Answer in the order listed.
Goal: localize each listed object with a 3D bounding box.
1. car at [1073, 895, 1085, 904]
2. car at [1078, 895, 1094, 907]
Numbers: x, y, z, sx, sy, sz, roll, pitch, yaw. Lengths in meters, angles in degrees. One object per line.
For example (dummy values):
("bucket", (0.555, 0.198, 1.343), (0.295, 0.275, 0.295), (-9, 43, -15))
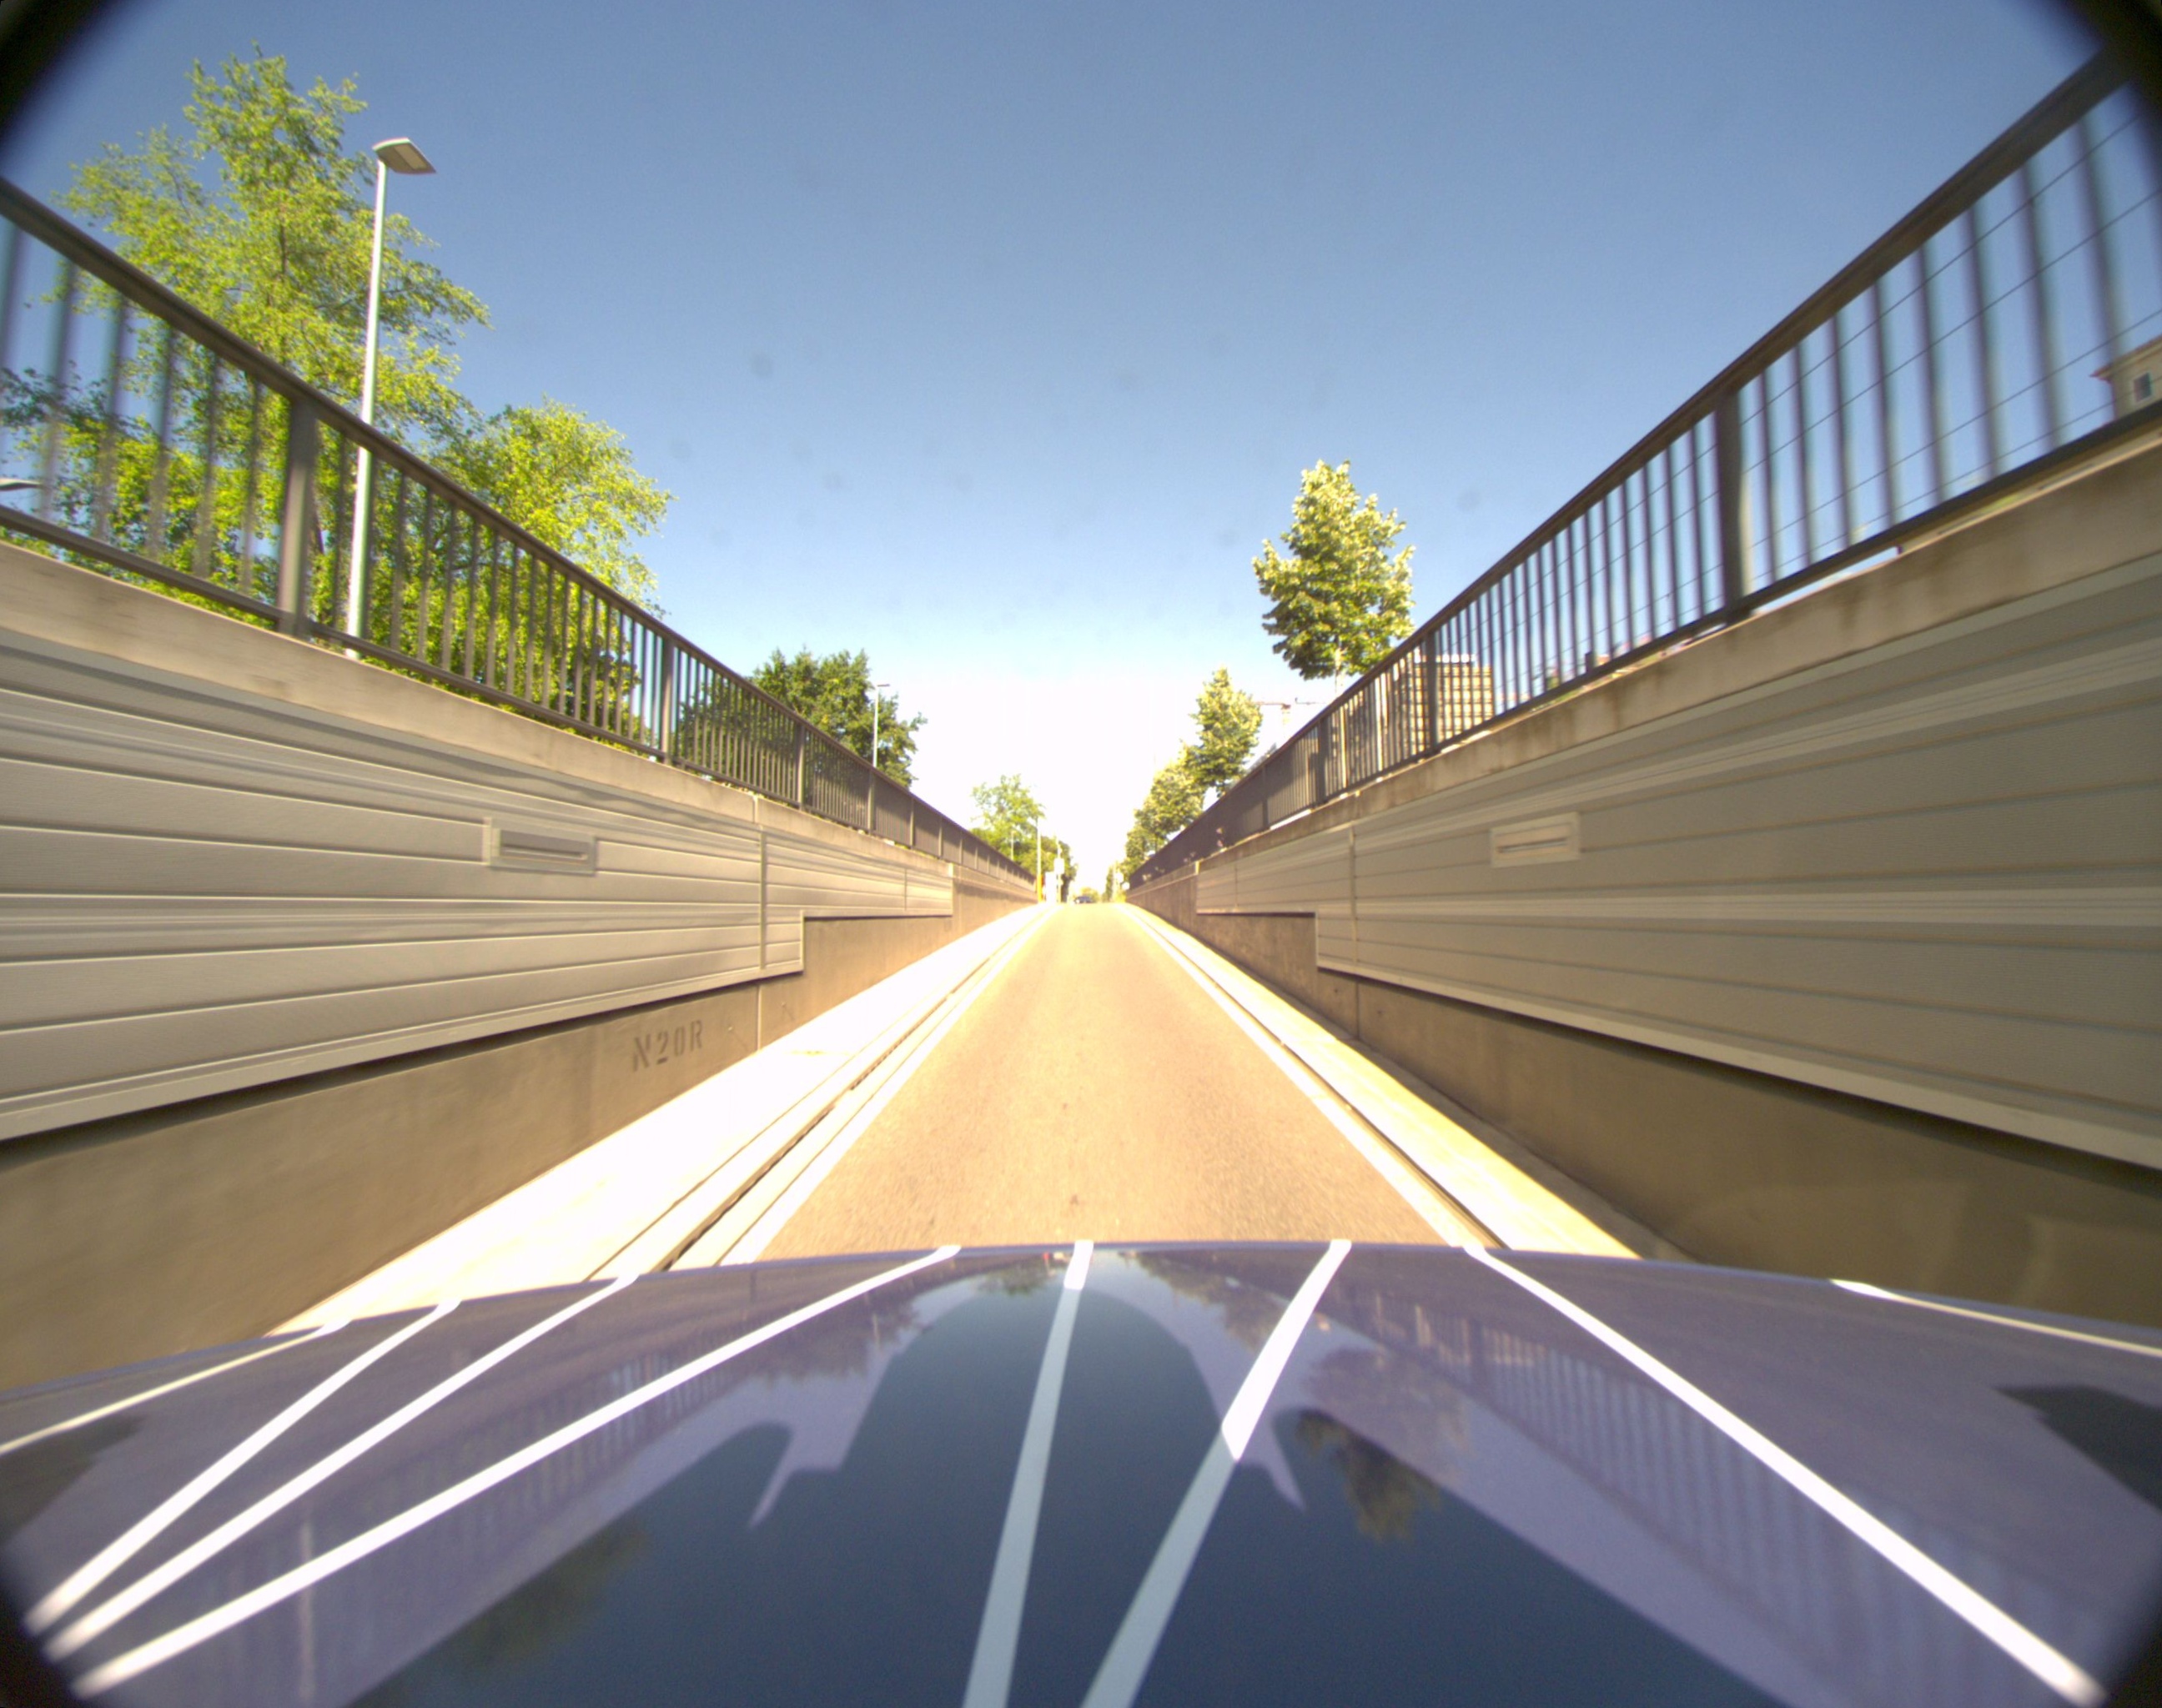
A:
("car", (-0.333, 7.240, 119.728), (1.829, 1.327, 4.003), (-1, -4, 1))
("car", (0.602, 5.755, 92.679), (1.829, 1.327, 4.003), (-1, -4, 1))
